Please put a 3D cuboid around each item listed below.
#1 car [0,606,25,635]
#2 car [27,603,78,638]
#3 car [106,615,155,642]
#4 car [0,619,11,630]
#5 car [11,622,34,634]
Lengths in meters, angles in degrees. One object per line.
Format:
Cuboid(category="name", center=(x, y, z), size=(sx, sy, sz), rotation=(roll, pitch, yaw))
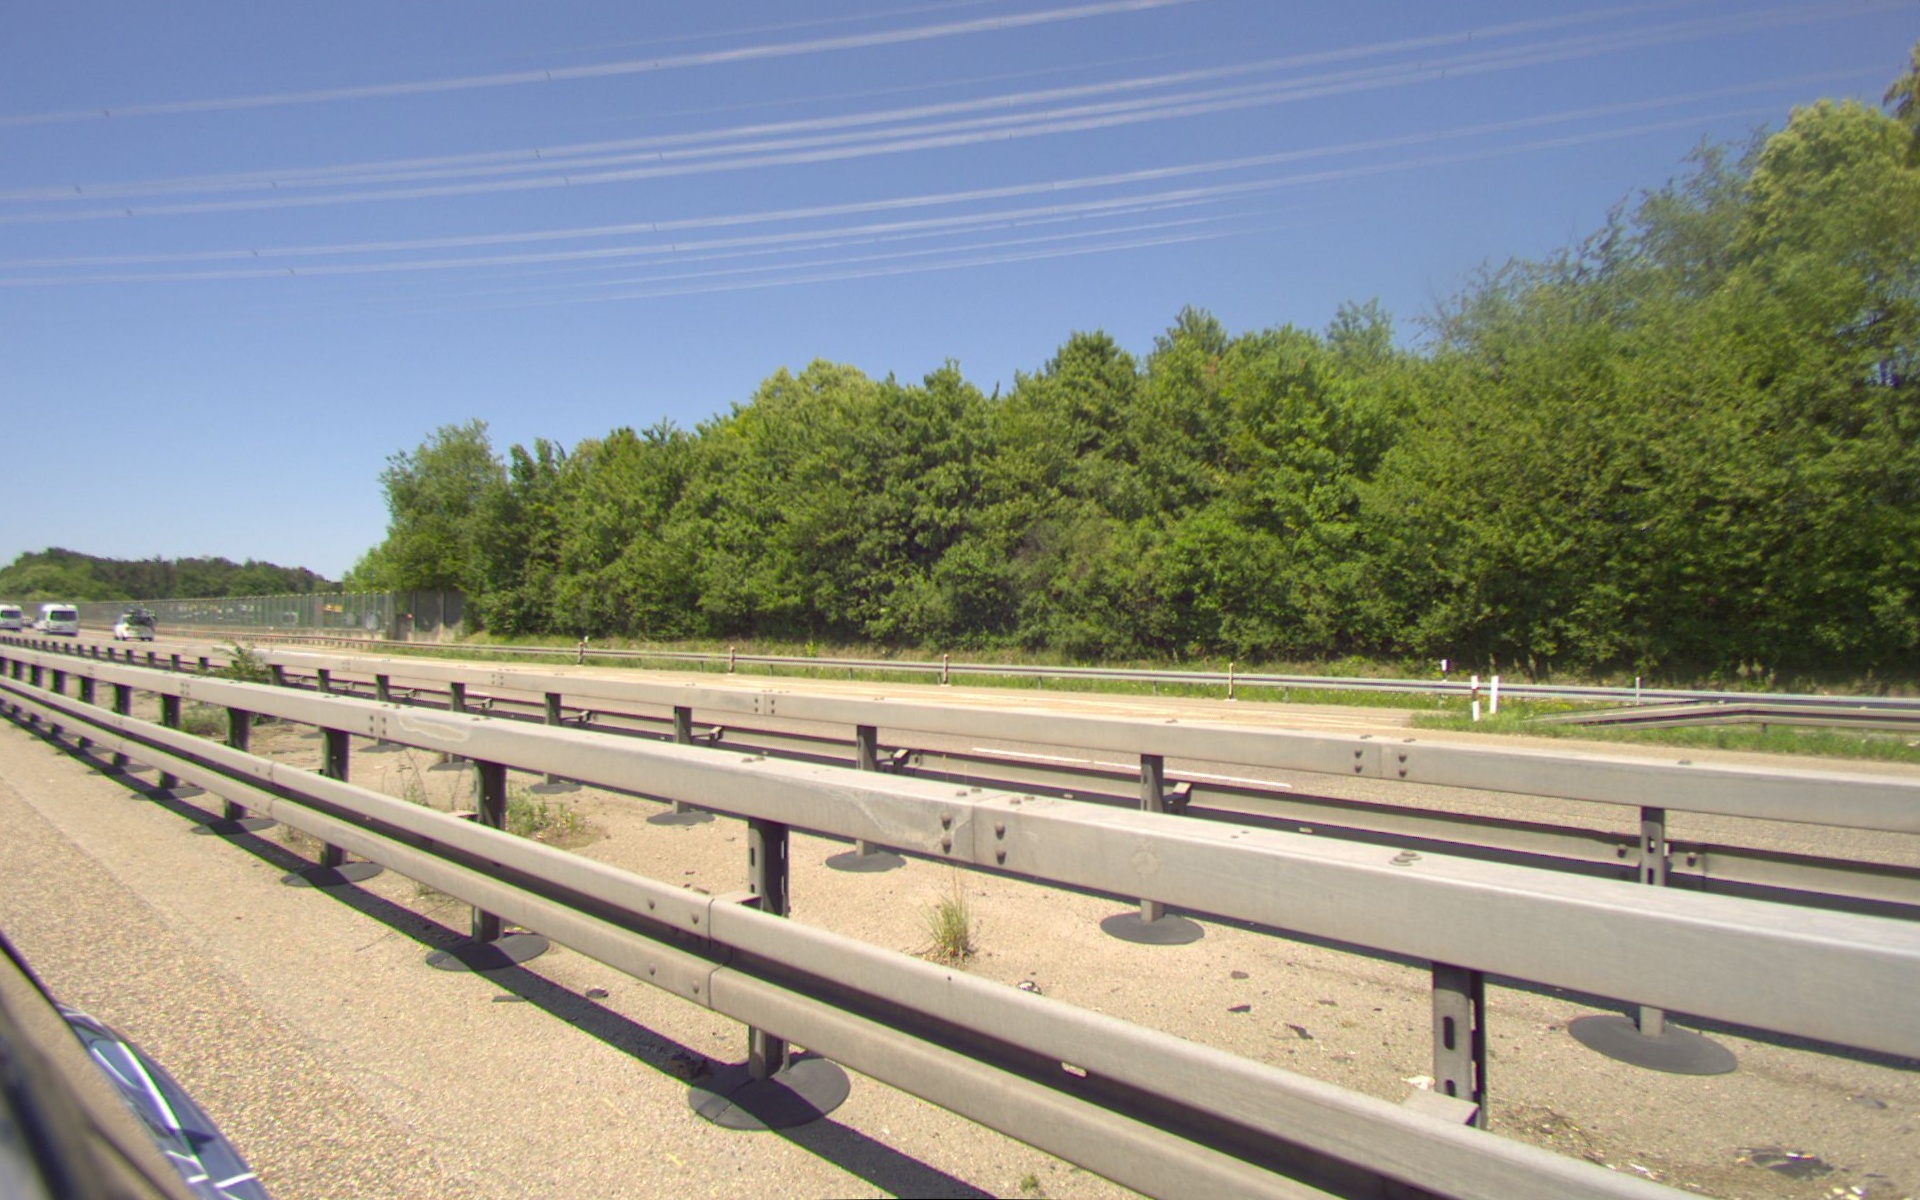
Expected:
Cuboid(category="car", center=(-94.600, 2.001, 100.272), size=(5.835, 2.671, 2.031), rotation=(0, -5, 41))
Cuboid(category="car", center=(-70.617, 1.601, 78.699), size=(5.887, 2.613, 2.133), rotation=(0, -2, 41))
Cuboid(category="car", center=(-63.549, 2.150, 77.479), size=(5.488, 1.919, 1.846), rotation=(0, -3, 40))
Cuboid(category="car", center=(-144.379, 3.689, 152.207), size=(5.275, 1.588, 1.972), rotation=(0, 0, 43))
Cuboid(category="car", center=(-124.634, 3.716, 134.501), size=(4.342, 1.467, 1.668), rotation=(0, -3, 40))
